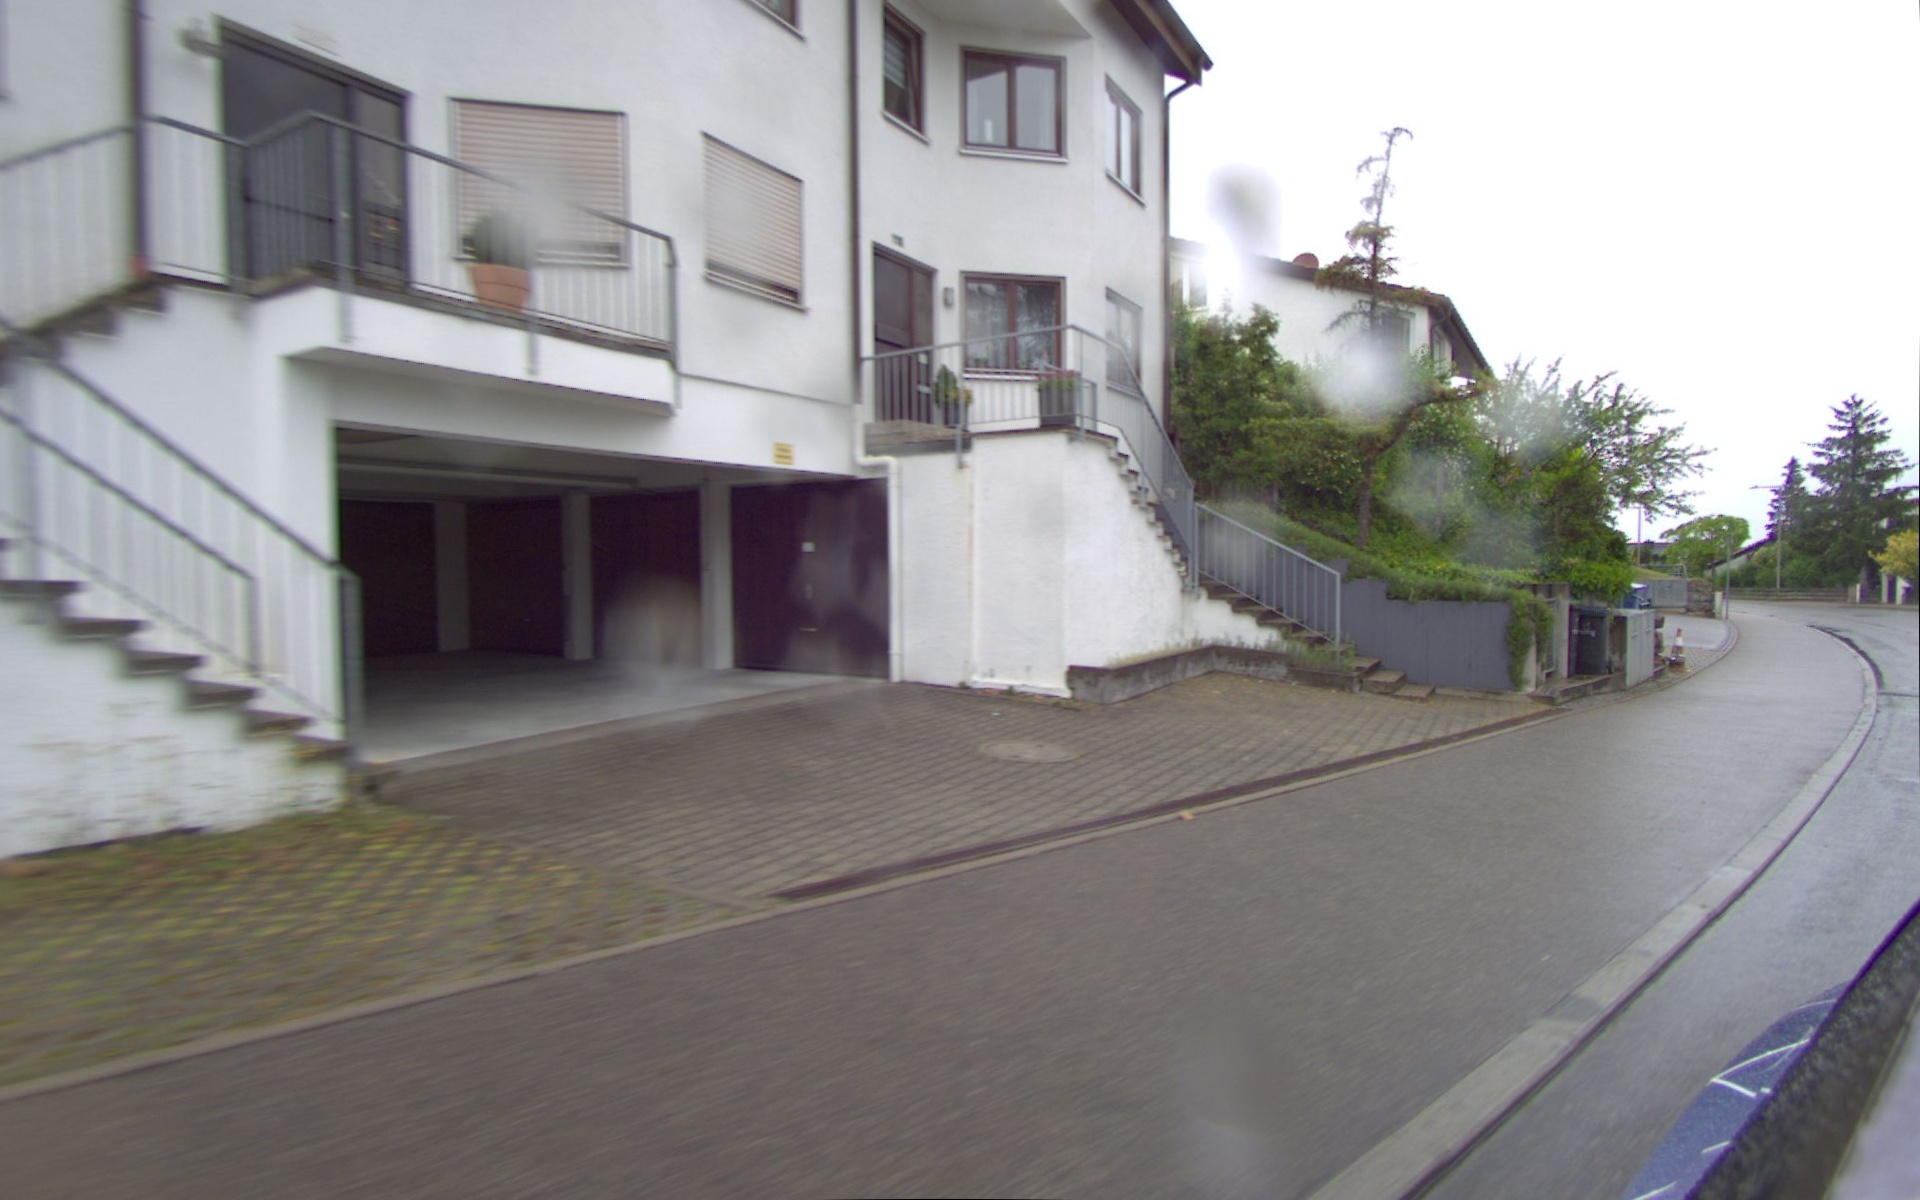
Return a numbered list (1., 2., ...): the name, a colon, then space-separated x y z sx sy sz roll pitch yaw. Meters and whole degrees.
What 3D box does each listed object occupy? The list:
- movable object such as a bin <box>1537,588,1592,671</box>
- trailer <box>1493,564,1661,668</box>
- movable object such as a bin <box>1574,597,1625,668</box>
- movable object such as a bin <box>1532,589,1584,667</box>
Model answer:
1. movable object such as a bin: 8.060 0.380 13.497 0.567 1.059 0.492 -1 1 -44
2. trailer: 11.407 0.233 18.722 2.353 1.769 1.970 1 2 42
3. movable object such as a bin: 8.773 0.429 13.886 0.450 0.934 0.492 0 1 -44
4. movable object such as a bin: 8.414 0.382 14.248 0.567 1.059 0.492 -1 1 -44
